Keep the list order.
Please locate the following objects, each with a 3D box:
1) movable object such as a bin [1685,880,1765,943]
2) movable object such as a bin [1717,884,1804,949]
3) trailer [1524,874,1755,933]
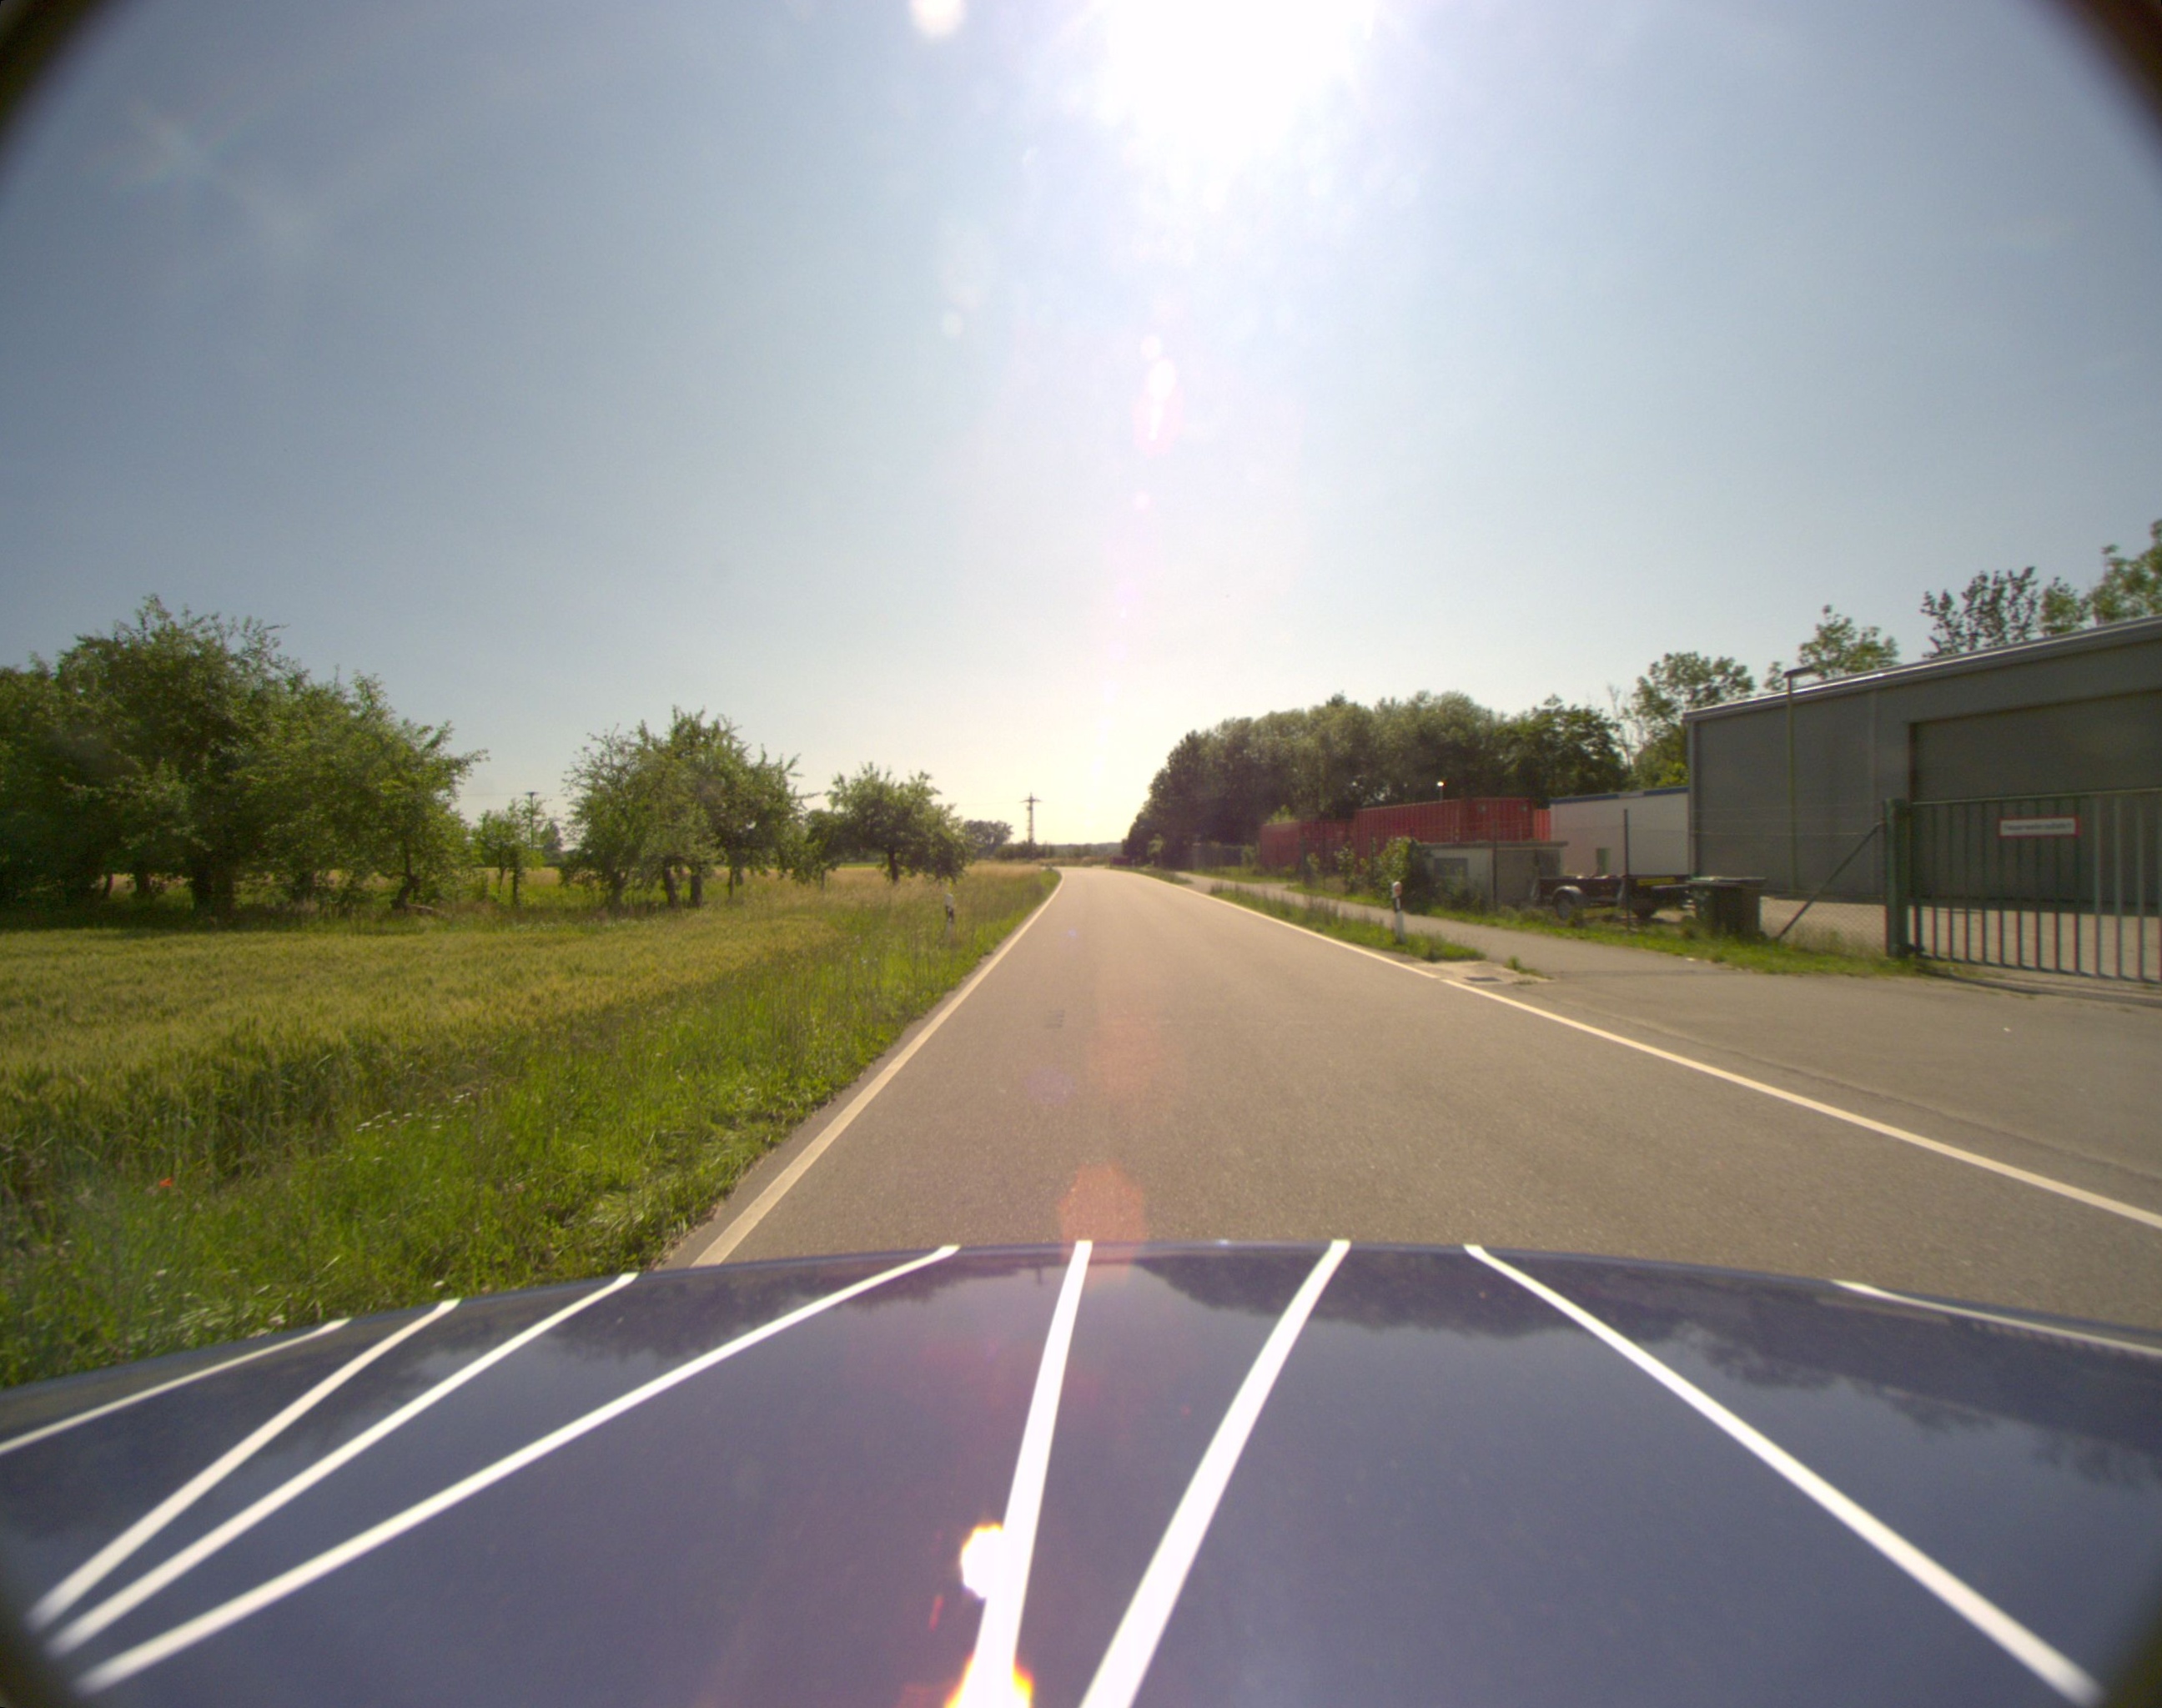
[{"bbox_3d":[9.483,0.838,11.215,0.640,0.871,0.654,0,0,6],"label":"movable object such as a bin"},{"bbox_3d":[9.401,0.852,10.539,0.640,0.849,0.654,0,0,6],"label":"movable object such as a bin"},{"bbox_3d":[10.073,0.850,14.035,1.635,0.861,3.356,0,0,-5],"label":"trailer"}]
